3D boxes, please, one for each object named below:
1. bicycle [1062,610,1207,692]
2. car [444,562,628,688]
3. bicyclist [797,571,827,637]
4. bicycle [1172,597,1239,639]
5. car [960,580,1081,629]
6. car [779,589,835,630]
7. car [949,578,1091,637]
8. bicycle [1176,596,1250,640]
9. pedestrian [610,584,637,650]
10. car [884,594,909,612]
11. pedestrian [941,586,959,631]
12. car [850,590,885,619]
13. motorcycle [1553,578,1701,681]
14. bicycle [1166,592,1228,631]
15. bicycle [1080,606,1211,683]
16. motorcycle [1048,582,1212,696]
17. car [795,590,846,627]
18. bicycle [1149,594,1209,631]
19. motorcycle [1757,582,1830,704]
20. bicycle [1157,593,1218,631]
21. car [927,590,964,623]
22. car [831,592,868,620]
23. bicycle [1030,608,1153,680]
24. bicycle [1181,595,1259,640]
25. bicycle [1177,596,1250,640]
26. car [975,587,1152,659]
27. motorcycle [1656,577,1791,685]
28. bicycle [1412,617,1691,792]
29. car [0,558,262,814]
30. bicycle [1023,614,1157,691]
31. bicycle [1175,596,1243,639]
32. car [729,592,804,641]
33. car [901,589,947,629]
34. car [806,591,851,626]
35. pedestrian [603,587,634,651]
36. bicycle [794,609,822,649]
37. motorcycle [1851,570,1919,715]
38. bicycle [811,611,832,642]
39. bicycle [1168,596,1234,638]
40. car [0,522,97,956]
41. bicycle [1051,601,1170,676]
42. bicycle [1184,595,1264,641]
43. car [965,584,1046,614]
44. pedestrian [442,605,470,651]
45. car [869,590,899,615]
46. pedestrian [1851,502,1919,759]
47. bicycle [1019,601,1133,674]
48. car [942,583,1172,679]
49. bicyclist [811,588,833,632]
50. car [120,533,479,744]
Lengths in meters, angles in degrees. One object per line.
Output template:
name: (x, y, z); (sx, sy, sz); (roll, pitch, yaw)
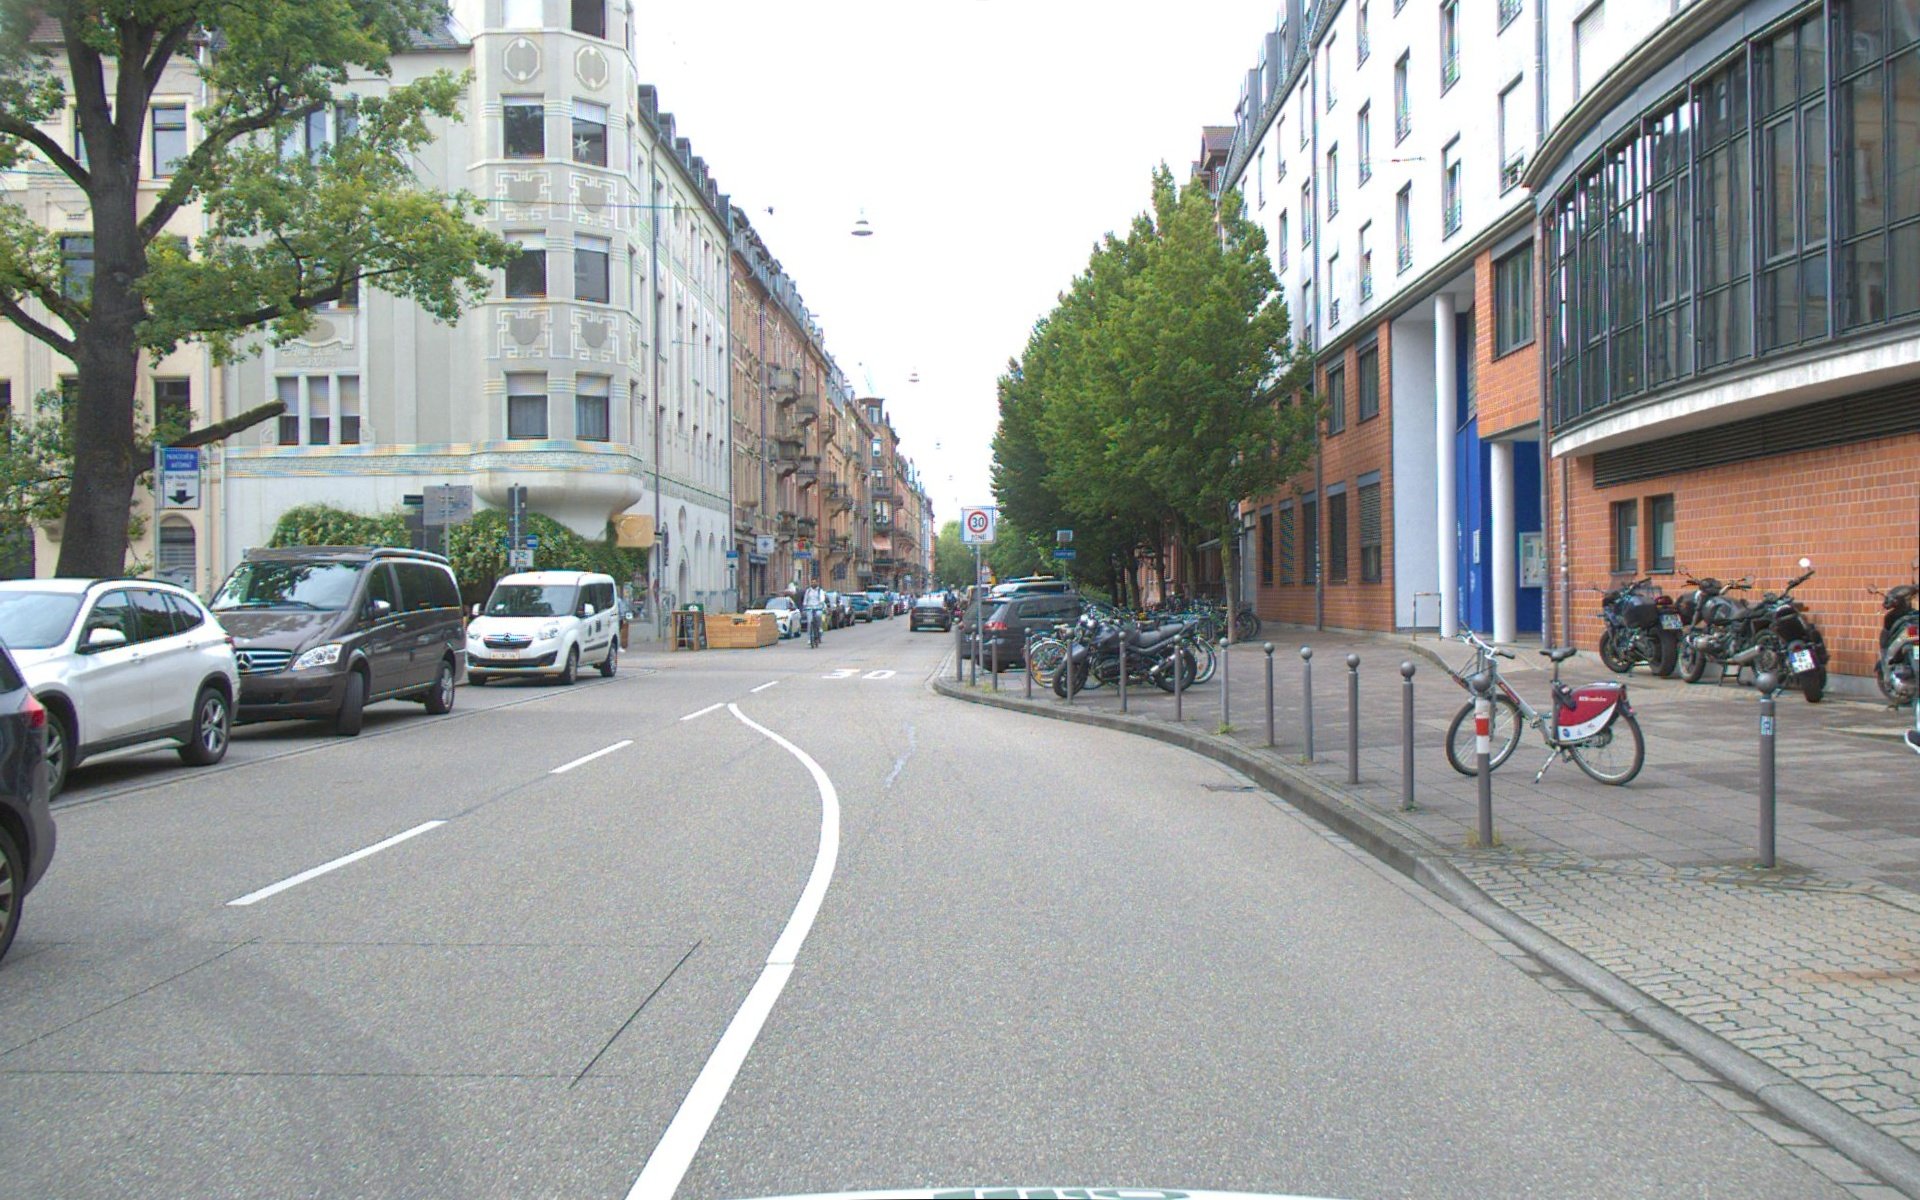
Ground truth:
bicycle: (2.495, 0.727, 23.775); (1.969, 1.081, 0.611); (-2, -1, -3)
car: (-7.165, 0.378, 28.415); (1.805, 1.973, 4.549); (0, 0, 3)
bicyclist: (-4.318, 0.109, 48.241); (0.766, 1.899, 0.715); (-1, 0, 2)
bicycle: (6.619, 0.476, 44.554); (1.716, 1.111, 0.565); (0, -1, 0)
car: (2.743, 0.178, 74.266); (5.338, 2.027, 1.928); (-2, 0, -34)
car: (-6.367, 0.388, 69.136); (1.904, 1.645, 3.943); (0, 0, 1)
car: (2.433, 0.293, 66.176); (5.557, 2.164, 1.928); (-2, 0, -34)
bicycle: (6.478, 0.455, 42.347); (1.798, 1.111, 0.543); (0, -1, 0)
pedestrian: (-9.108, 0.455, 44.765); (0.573, 1.765, 0.499); (1, -2, -35)
car: (-5.212, 0.255, 135.239); (1.953, 1.344, 3.998); (0, -1, -3)
pedestrian: (-0.503, 0.441, 81.098); (0.873, 2.183, 1.028); (0, -1, -1)
car: (-5.711, 0.271, 102.698); (1.904, 1.772, 3.943); (0, 0, 1)
motorcycle: (8.594, 0.352, 21.437); (1.007, 1.223, 2.209); (-2, 0, 0)
bicycle: (6.882, 0.339, 48.064); (1.716, 1.111, 0.565); (0, -1, 0)
bicycle: (2.828, 0.680, 25.293); (1.890, 1.096, 0.611); (-2, -1, -3)
motorcycle: (2.298, 0.531, 22.542); (2.091, 1.454, 0.770); (-2, -1, -3)
car: (-6.241, 0.384, 74.609); (1.904, 1.645, 3.943); (0, 0, 1)
bicycle: (6.597, 0.372, 49.795); (1.716, 1.111, 0.565); (0, -1, 0)
motorcycle: (8.478, 0.412, 16.873); (0.589, 1.163, 1.880); (-2, 0, 26)
bicycle: (6.736, 0.356, 48.922); (1.716, 1.111, 0.565); (0, -1, 0)
car: (-0.783, 0.380, 90.074); (1.953, 1.710, 3.999); (0, -1, 0)
car: (-6.496, 0.345, 97.508); (1.904, 1.645, 3.942); (0, 0, 0)
bicycle: (2.071, 0.698, 26.205); (1.846, 1.061, 0.611); (-2, -1, -3)
bicycle: (6.524, 0.440, 41.538); (1.856, 1.111, 0.543); (0, -1, 0)
bicycle: (6.603, 0.468, 43.141); (1.798, 1.111, 0.565); (0, -1, 0)
car: (2.584, 0.555, 41.062); (4.005, 1.612, 1.884); (-2, -1, -31)
motorcycle: (8.743, 0.336, 19.040); (0.589, 1.163, 2.070); (-2, 0, 1)
bicycle: (4.183, 0.710, 11.793); (0.723, 1.123, 1.711); (-2, 0, -40)
car: (-7.328, 0.563, 12.966); (1.805, 1.718, 4.433); (0, 1, 0)
bicycle: (1.916, 0.780, 24.564); (1.890, 1.061, 0.611); (-2, -1, -3)
bicycle: (6.577, 0.462, 43.771); (1.716, 1.111, 0.565); (0, -1, 0)
car: (-6.689, 0.564, 57.543); (1.903, 1.580, 3.819); (-2, 0, 3)
car: (-1.546, 0.428, 72.981); (1.953, 1.710, 3.999); (0, -1, 0)
car: (-6.454, 0.419, 81.445); (1.904, 1.645, 3.942); (0, 0, 0)
pedestrian: (-9.093, 0.513, 44.029); (0.566, 1.689, 0.576); (-1, -1, 22)
bicycle: (-4.422, 0.822, 48.225); (0.555, 1.106, 1.987); (-1, 0, 2)
motorcycle: (8.577, 0.363, 15.122); (0.589, 1.214, 1.566); (-2, 2, 23)
bicycle: (-4.474, 0.858, 53.628); (0.524, 0.995, 1.865); (0, -1, 0)
bicycle: (6.571, 0.462, 45.161); (1.716, 1.111, 0.565); (0, -1, 0)
car: (-4.735, 0.569, 4.974); (1.807, 1.713, 4.549); (0, 0, 1)
bicycle: (2.447, 0.626, 27.051); (1.846, 1.161, 0.611); (-2, -1, -3)
bicycle: (6.523, 0.445, 40.932); (1.893, 1.111, 0.577); (0, -1, 0)
car: (3.169, -0.069, 114.181); (5.328, 1.900, 1.931); (-2, 0, -29)
pedestrian: (-13.477, 0.747, 44.218); (0.566, 1.218, 0.555); (0, 1, 0)
car: (-5.488, 0.149, 120.305); (1.904, 1.769, 3.943); (-1, 0, 1)
pedestrian: (6.937, 0.194, 11.788); (0.617, 1.784, 0.811); (-4, 0, -3)
bicycle: (1.971, 0.637, 28.287); (1.846, 1.161, 0.611); (-2, -1, -3)
car: (1.938, 0.582, 32.610); (4.234, 1.606, 1.842); (-3, 0, -33)
bicyclist: (-4.469, 0.330, 53.679); (0.655, 1.423, 0.783); (0, -1, -2)
car: (-7.231, 0.363, 18.816); (1.972, 2.049, 5.183); (0, 0, 0)
